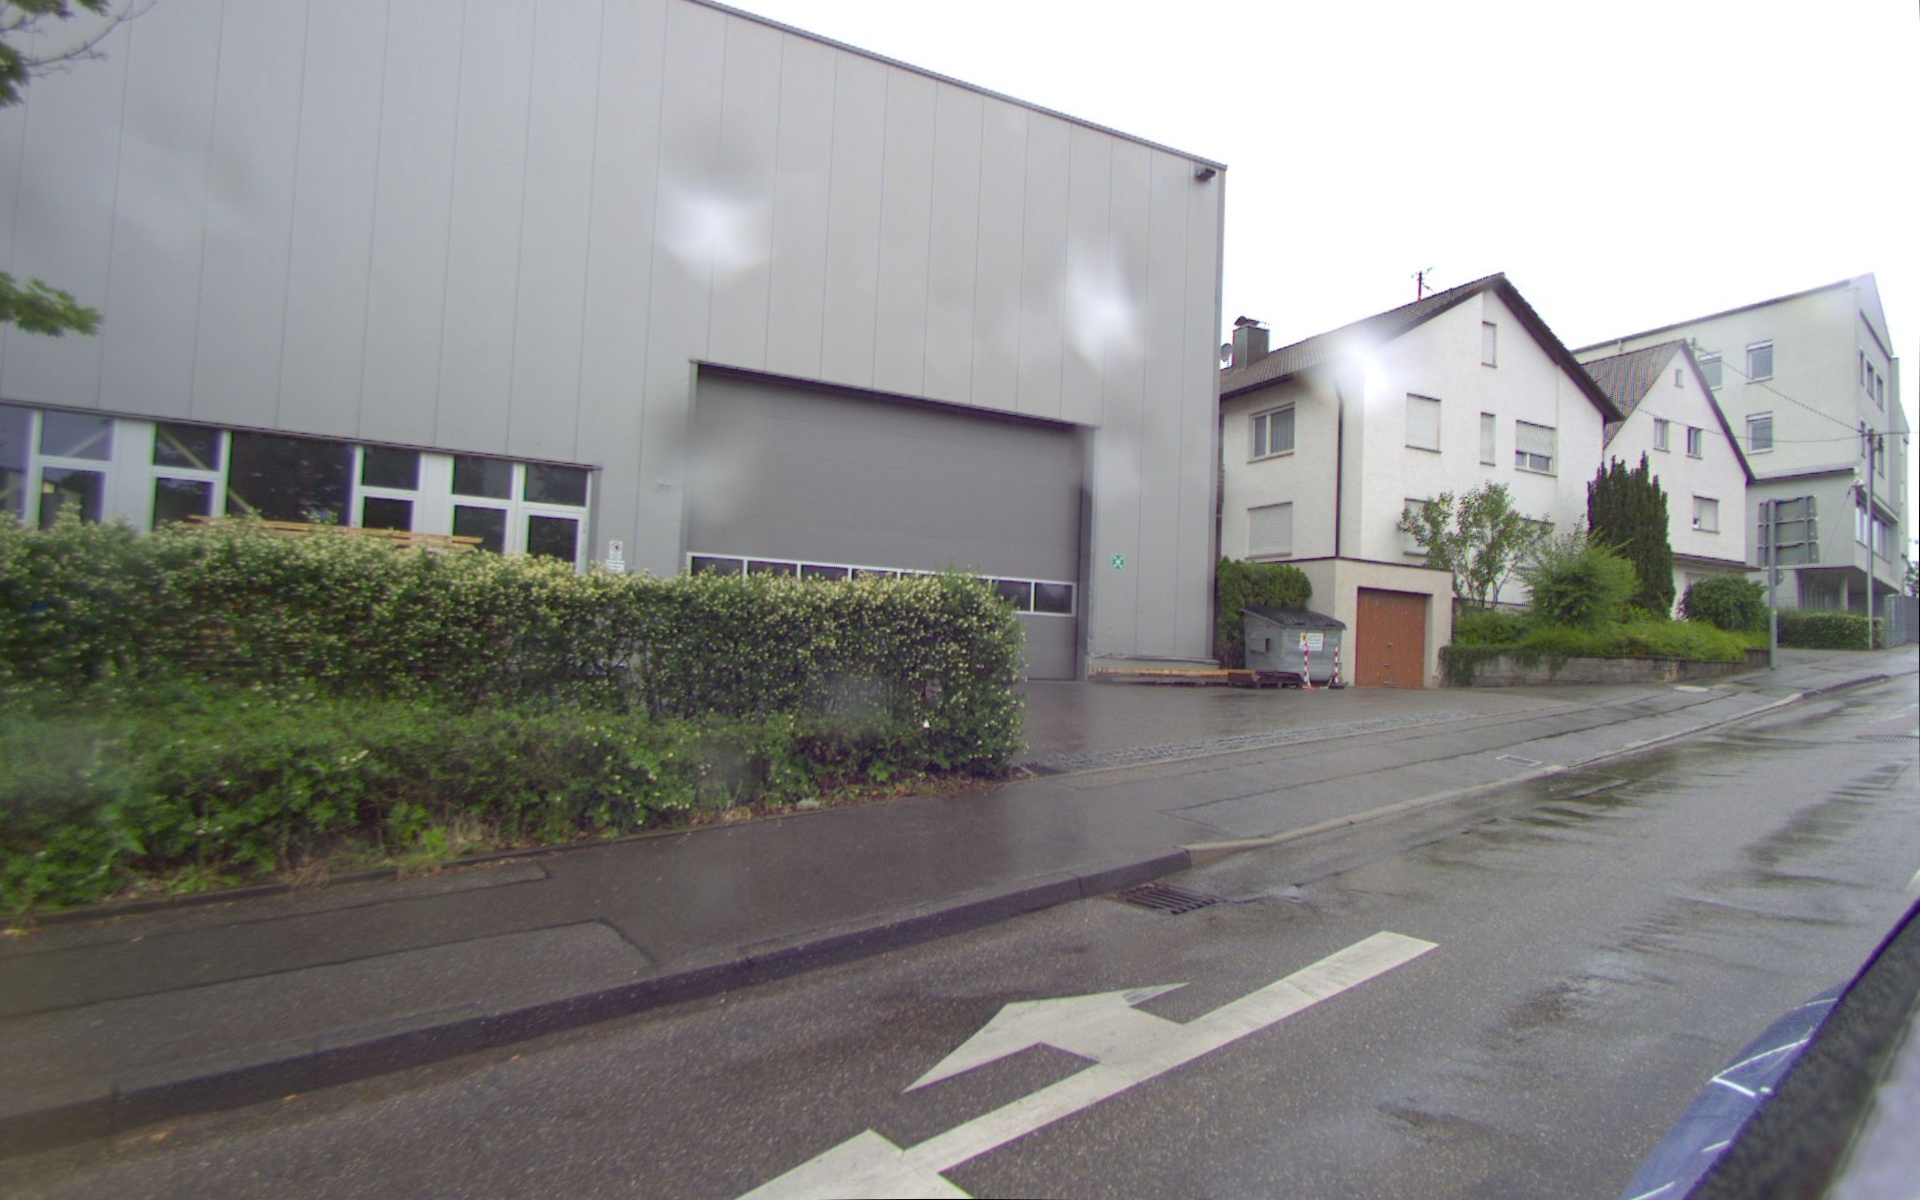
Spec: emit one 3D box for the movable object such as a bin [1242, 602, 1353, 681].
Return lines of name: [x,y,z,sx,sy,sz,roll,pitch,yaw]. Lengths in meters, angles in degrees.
movable object such as a bin: [6.932,0.833,20.819,1.742,1.537,1.268,1,0,-25]
